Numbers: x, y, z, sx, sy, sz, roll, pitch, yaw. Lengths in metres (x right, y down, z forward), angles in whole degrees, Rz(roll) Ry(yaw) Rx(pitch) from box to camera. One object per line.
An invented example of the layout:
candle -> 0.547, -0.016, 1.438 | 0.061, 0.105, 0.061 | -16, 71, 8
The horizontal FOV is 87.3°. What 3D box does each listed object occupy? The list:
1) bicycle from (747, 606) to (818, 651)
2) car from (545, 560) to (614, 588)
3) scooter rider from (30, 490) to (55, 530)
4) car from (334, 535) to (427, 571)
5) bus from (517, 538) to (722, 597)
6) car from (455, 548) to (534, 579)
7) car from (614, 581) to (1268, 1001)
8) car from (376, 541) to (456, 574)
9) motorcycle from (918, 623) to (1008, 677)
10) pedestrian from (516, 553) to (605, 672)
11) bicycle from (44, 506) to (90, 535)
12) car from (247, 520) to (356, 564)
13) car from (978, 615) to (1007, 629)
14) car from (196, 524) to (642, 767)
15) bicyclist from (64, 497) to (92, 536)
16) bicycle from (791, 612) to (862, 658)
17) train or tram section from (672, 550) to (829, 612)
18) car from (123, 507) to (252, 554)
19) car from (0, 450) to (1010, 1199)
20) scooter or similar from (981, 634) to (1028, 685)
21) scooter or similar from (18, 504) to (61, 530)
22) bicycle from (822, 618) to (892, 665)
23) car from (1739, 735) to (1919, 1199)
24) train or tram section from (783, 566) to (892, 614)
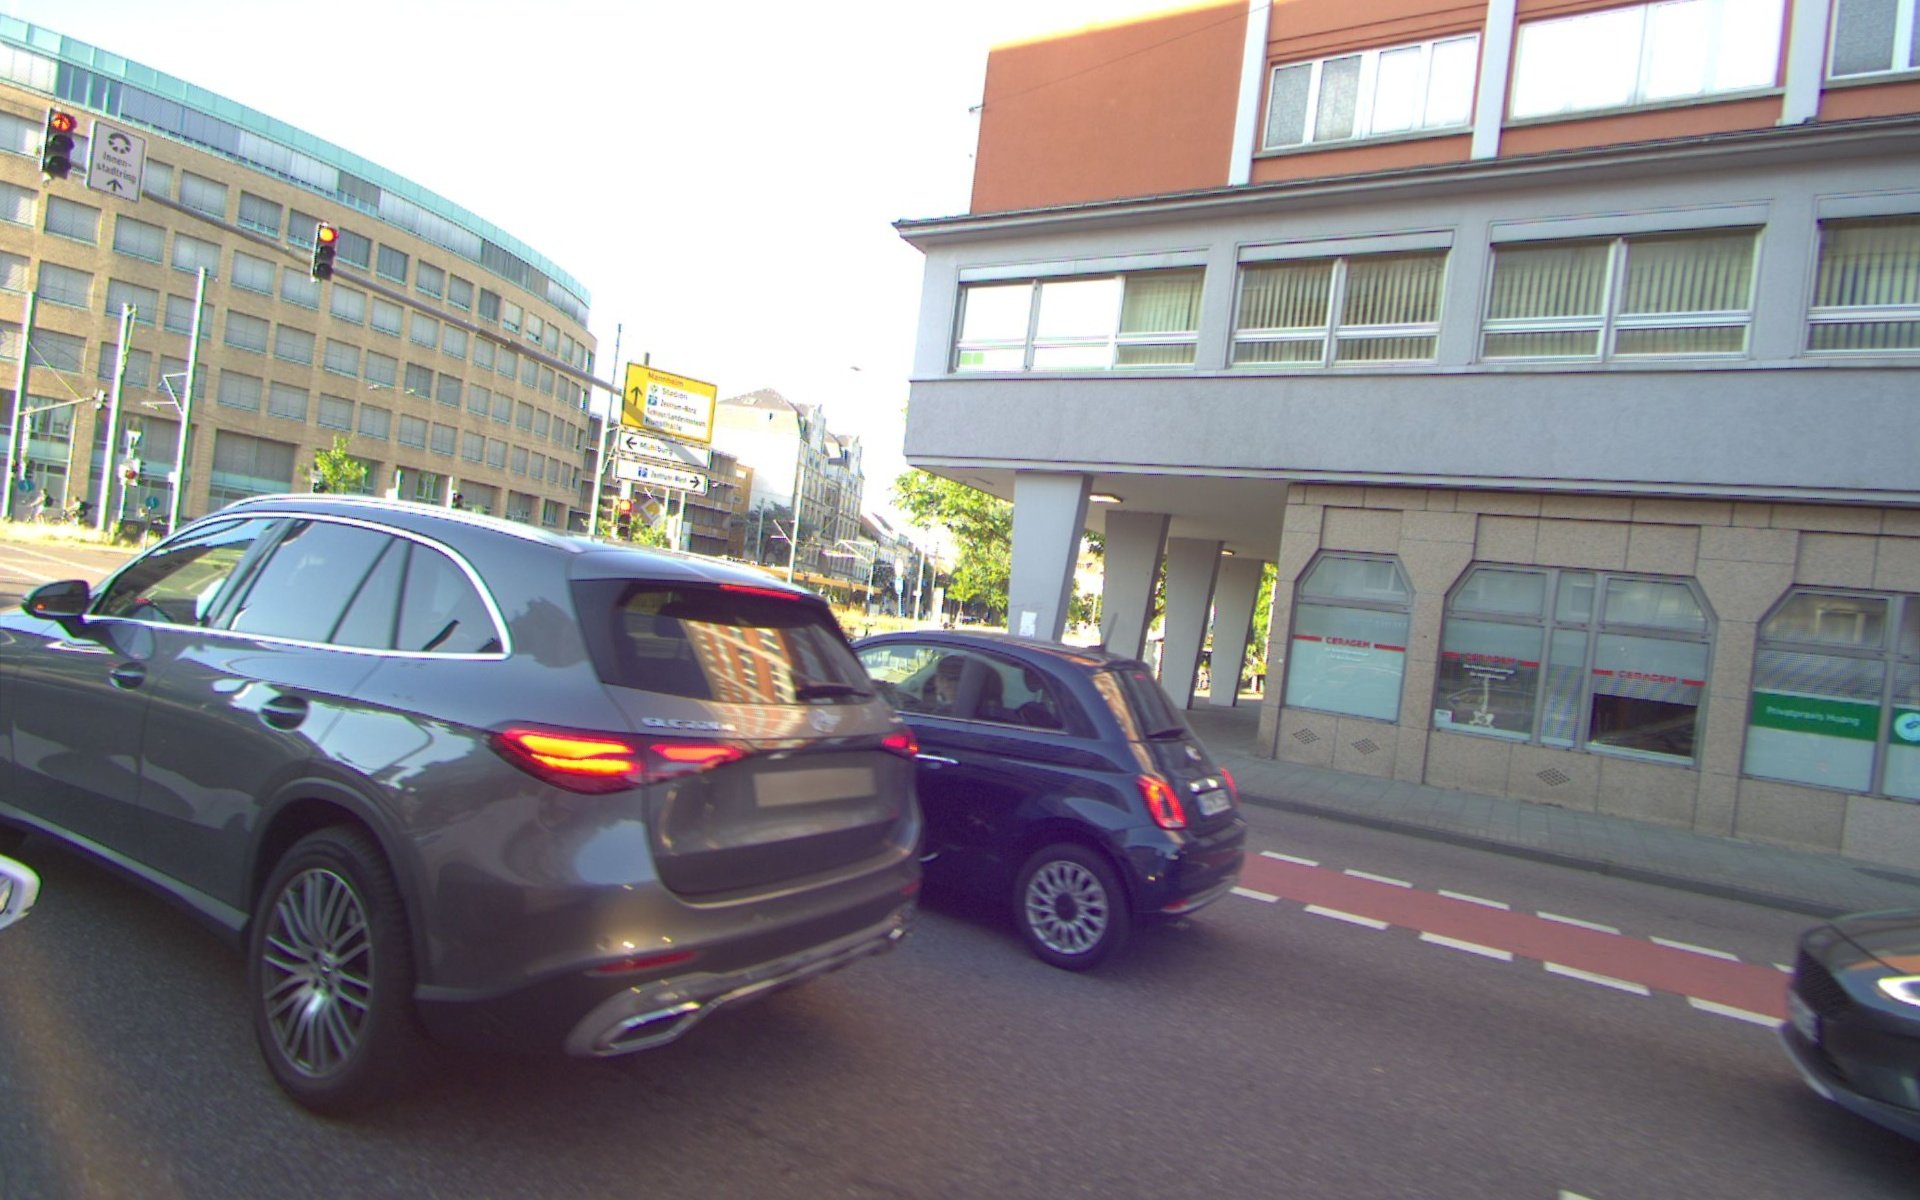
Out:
bicycle -> -5.034, 0.832, 28.658 | 0.730, 1.130, 2.089 | 7, 0, 29
car -> -25.859, -1.772, 68.493 | 1.966, 1.362, 3.995 | 7, -1, 29
scooter rider -> -44.062, -4.320, 48.295 | 0.468, 1.836, 0.680 | 7, 1, 37
car -> -34.221, -2.756, 59.523 | 1.965, 1.520, 4.238 | 7, -1, 27
bus -> -25.068, -2.216, 76.393 | 2.380, 2.466, 18.214 | 7, -1, 26
car -> -28.994, -2.269, 62.715 | 1.966, 1.362, 3.995 | 7, -1, 29
car -> -0.180, 0.877, 5.901 | 3.419, 1.524, 1.492 | 7, 0, 30
car -> -31.343, -2.431, 58.043 | 1.693, 1.358, 3.614 | 7, -1, 31
motorcycle -> 0.075, 1.447, 29.250 | 2.361, 1.256, 0.855 | 7, 0, 28
pedestrian -> -6.414, 0.214, 16.163 | 0.659, 1.790, 0.945 | 7, 0, 35
bicycle -> -43.039, -3.829, 48.501 | 0.468, 1.187, 1.519 | 7, 0, 37
car -> -34.285, -3.004, 52.494 | 1.967, 1.634, 4.234 | 7, -1, 32
car -> 4.831, 3.251, 148.789 | 3.970, 1.609, 1.978 | 8, -1, -40
car -> -4.650, 0.325, 8.561 | 3.586, 1.463, 1.588 | 7, -2, 31
bicyclist -> -42.748, -4.065, 48.762 | 0.468, 1.757, 0.790 | 7, 1, 37
bicycle -> -3.687, 0.996, 27.957 | 0.730, 1.130, 2.089 | 7, 0, 29
train or tram section -> -15.944, -1.274, 79.386 | 3.631, 3.215, 17.163 | 7, -1, 19
car -> -38.822, -3.480, 50.705 | 1.965, 1.617, 4.657 | 7, -1, 28
car -> -2.242, 0.449, 3.991 | 4.402, 1.652, 1.787 | 7, 0, 30
scooter or similar -> 1.194, 1.597, 26.862 | 1.130, 1.260, 0.424 | 6, 1, -39
scooter or similar -> -44.137, -3.962, 48.258 | 0.468, 1.014, 1.400 | 7, 0, 37
bicycle -> -2.757, 1.133, 27.176 | 0.730, 1.130, 2.089 | 7, 0, 29
car -> 5.148, 1.520, 2.979 | 4.168, 1.502, 1.654 | 7, -1, 31
train or tram section -> -11.284, -0.765, 97.088 | 3.629, 3.215, 19.973 | 7, -1, 13
